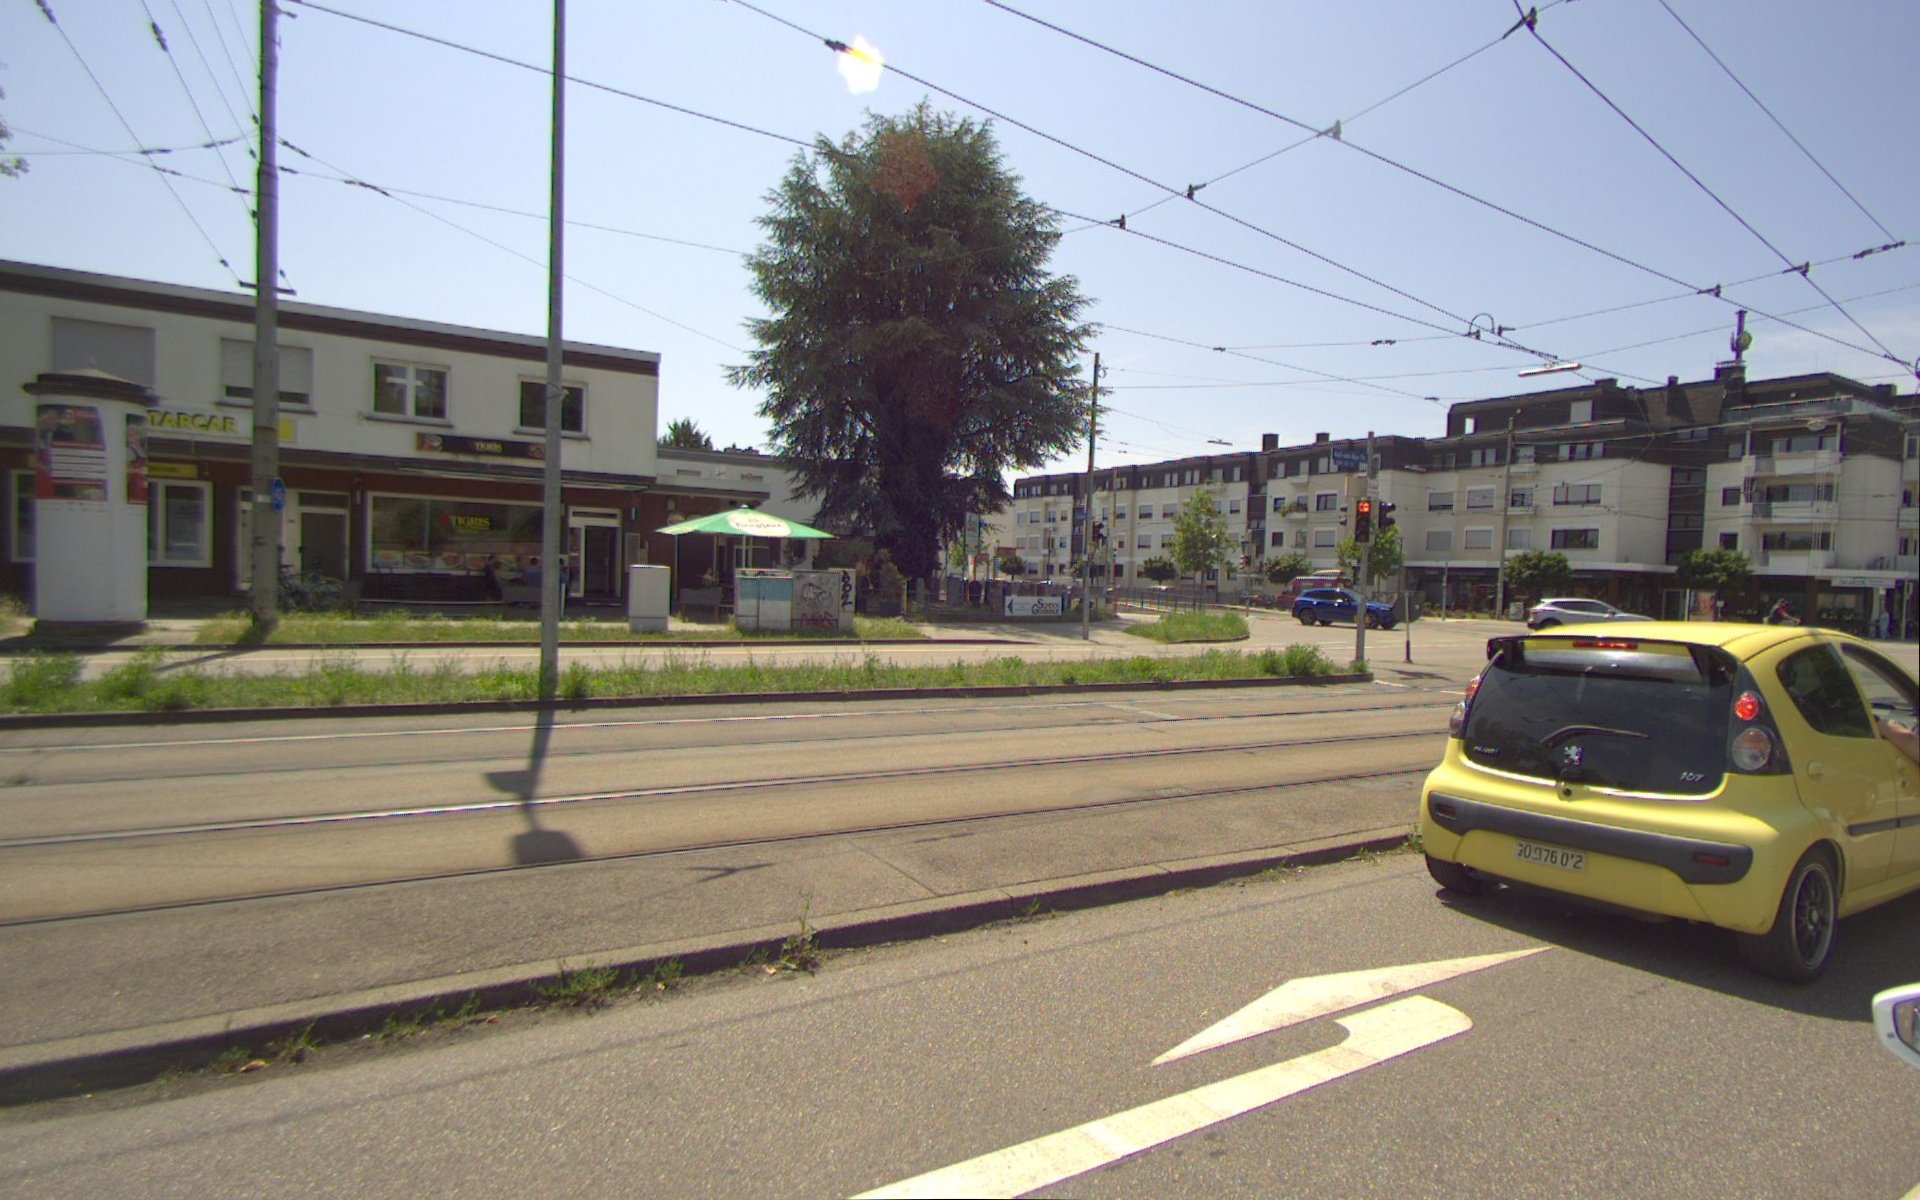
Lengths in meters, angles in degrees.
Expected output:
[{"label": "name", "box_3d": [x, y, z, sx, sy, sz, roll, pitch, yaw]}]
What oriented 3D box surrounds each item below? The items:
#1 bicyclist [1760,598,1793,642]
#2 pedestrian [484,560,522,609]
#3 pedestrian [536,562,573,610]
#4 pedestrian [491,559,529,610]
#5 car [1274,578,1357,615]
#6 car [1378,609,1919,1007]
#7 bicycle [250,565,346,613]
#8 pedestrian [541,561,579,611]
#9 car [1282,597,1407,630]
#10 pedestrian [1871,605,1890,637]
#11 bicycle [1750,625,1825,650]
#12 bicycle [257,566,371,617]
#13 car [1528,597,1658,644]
[{"label": "bicyclist", "box_3d": [28.704, 0.696, 35.326, 0.737, 1.521, 0.482, 2, 0, 21]}, {"label": "pedestrian", "box_3d": [-12.218, -0.408, 26.854, 0.832, 1.285, 0.586, 2, 0, -30]}, {"label": "pedestrian", "box_3d": [-11.125, -0.381, 27.528, 0.832, 1.285, 0.586, 2, 0, -30]}, {"label": "pedestrian", "box_3d": [-11.757, -0.397, 26.243, 0.832, 1.285, 0.586, 2, 0, -30]}, {"label": "car", "box_3d": [24.206, -0.267, 68.515, 2.219, 2.372, 5.038, 2, 0, -31]}, {"label": "car", "box_3d": [3.997, 0.797, 5.315, 3.254, 1.464, 1.715, 1, 0, -31]}, {"label": "bicycle", "box_3d": [-14.837, -0.234, 22.551, 1.738, 0.992, 0.536, 2, 0, -31]}, {"label": "pedestrian", "box_3d": [-10.713, -0.369, 26.916, 0.832, 1.285, 0.586, 2, 0, -30]}, {"label": "car", "box_3d": [16.761, 0.569, 43.974, 1.926, 1.253, 4.723, 2, 0, -43]}, {"label": "pedestrian", "box_3d": [51.171, 1.155, 55.843, 0.598, 1.777, 0.506, 2, 0, 16]}, {"label": "bicycle", "box_3d": [28.994, 1.318, 35.218, 1.948, 0.793, 0.466, 2, 0, 21]}, {"label": "bicycle", "box_3d": [-13.824, -0.168, 21.560, 2.006, 0.992, 0.607, 2, 0, -31]}, {"label": "car", "box_3d": [24.068, 0.750, 38.326, 4.080, 1.605, 1.935, 2, 0, 32]}]
